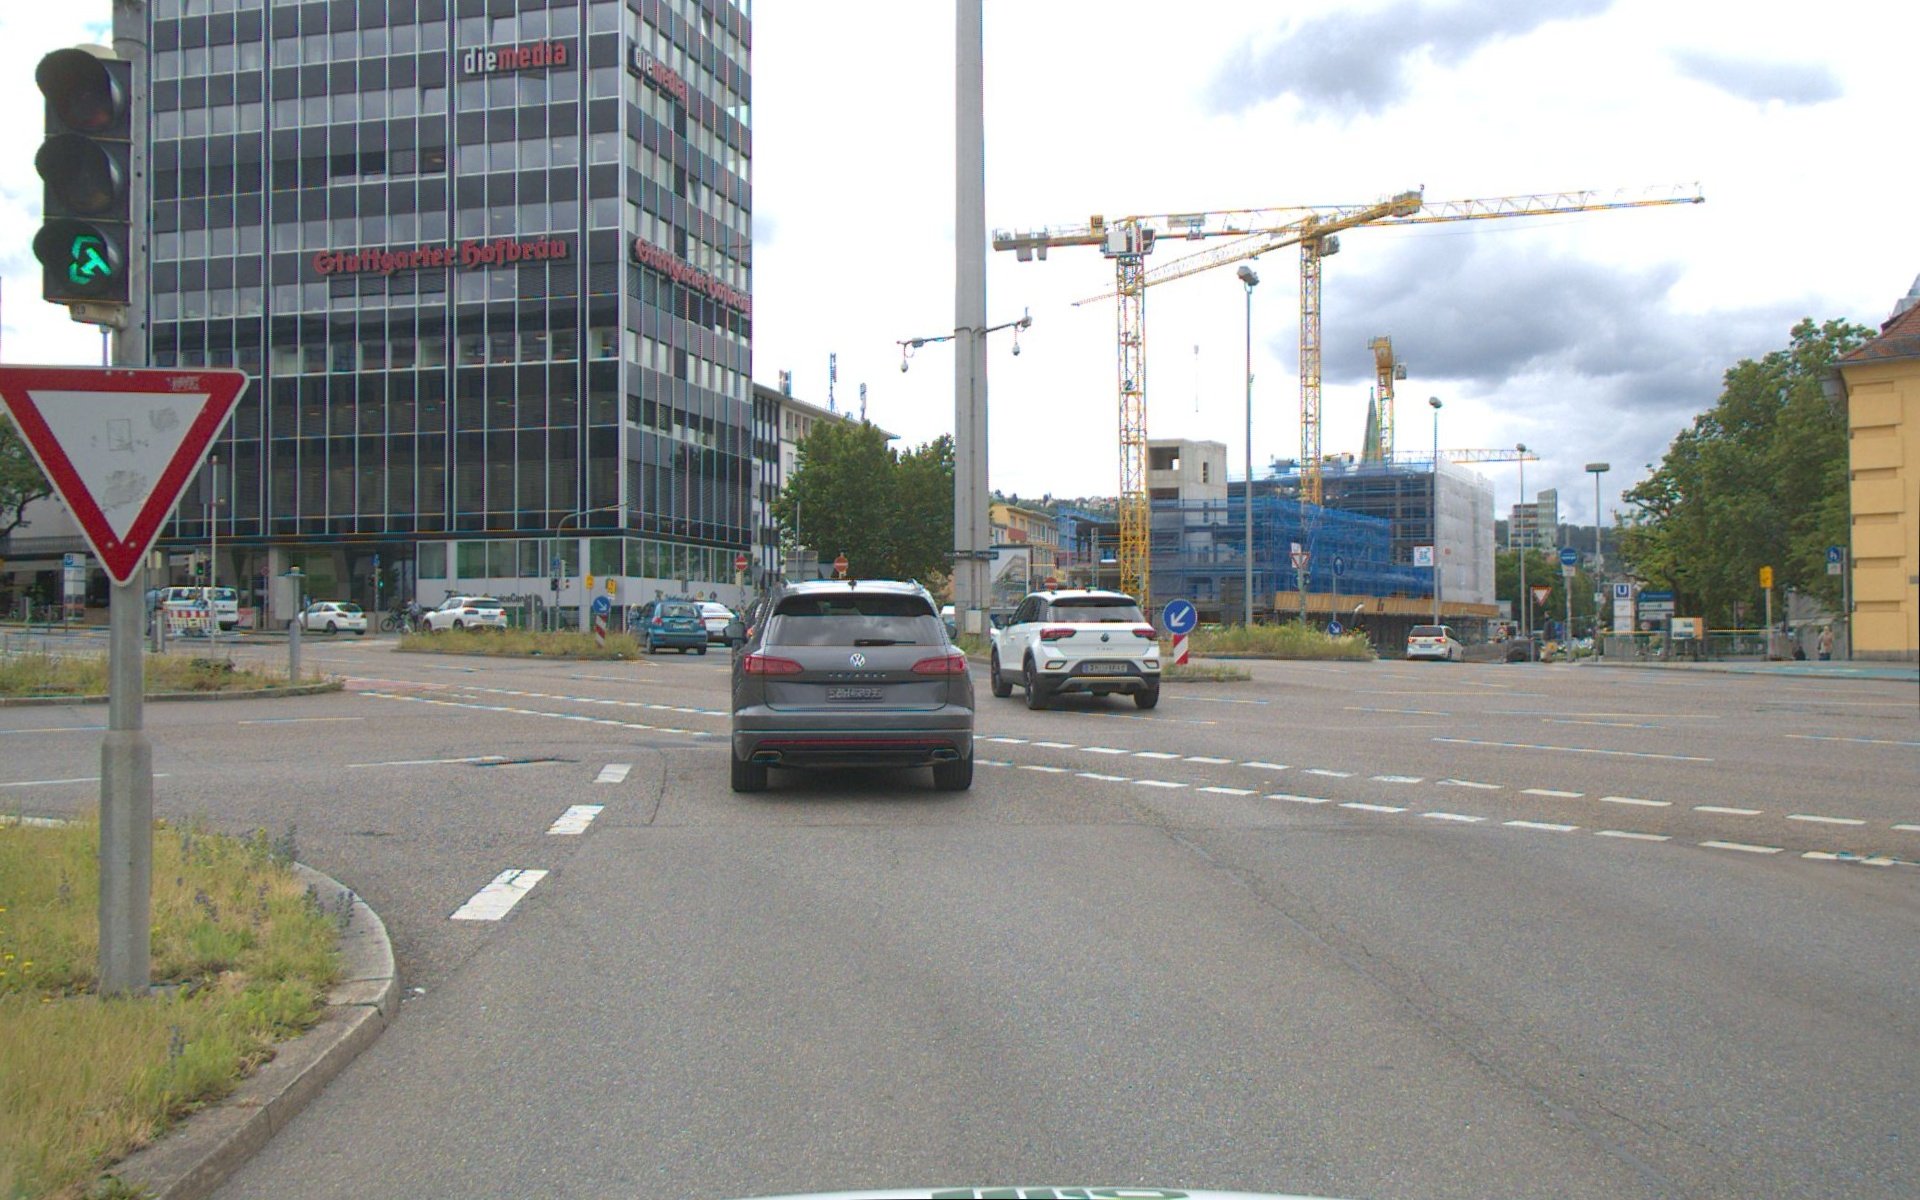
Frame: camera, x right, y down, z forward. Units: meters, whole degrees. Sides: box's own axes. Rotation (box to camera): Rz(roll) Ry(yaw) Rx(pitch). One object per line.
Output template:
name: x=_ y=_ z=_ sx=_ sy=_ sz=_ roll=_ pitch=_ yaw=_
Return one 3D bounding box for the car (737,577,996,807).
car: x=-0.942 y=0.654 z=14.163 sx=1.896 sy=1.676 sz=3.993 roll=1 pitch=1 yaw=-8

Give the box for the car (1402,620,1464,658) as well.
car: x=20.273 y=1.669 z=70.759 sx=1.768 sy=1.529 sz=3.975 roll=1 pitch=-1 yaw=27

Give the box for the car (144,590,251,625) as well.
car: x=-35.184 y=0.325 z=76.318 sx=4.507 sy=1.528 sz=2.249 roll=1 pitch=1 yaw=27

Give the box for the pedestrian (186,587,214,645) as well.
pedestrian: x=-31.631 y=0.663 z=68.821 sx=0.948 sy=2.403 sz=1.030 roll=0 pitch=0 yaw=-30

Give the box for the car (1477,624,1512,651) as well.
car: x=32.106 y=2.229 z=99.287 sx=1.766 sy=1.529 sz=3.981 roll=1 pitch=0 yaw=22

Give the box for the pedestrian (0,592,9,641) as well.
pedestrian: x=-32.220 y=0.556 z=55.389 sx=0.615 sy=1.621 sz=0.585 roll=1 pitch=0 yaw=-30

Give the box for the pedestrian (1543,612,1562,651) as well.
pedestrian: x=19.948 y=1.055 z=55.723 sx=0.538 sy=1.304 sz=0.462 roll=1 pitch=0 yaw=26

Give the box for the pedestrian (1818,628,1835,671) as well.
pedestrian: x=34.264 y=1.951 z=65.398 sx=0.532 sy=1.625 sz=0.741 roll=1 pitch=0 yaw=25

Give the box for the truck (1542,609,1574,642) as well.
truck: x=48.410 y=2.039 z=133.846 sx=2.085 sy=2.496 sz=4.824 roll=1 pitch=0 yaw=25

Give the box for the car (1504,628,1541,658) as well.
car: x=31.593 y=2.403 z=92.873 sx=1.766 sy=1.529 sz=3.981 roll=1 pitch=0 yaw=22

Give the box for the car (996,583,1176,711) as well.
car: x=1.664 y=0.589 z=23.099 sx=1.857 sy=1.613 sz=3.796 roll=0 pitch=1 yaw=-6

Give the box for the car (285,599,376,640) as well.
car: x=-28.994 y=0.898 z=76.133 sx=3.917 sy=1.639 sz=1.894 roll=2 pitch=-2 yaw=33

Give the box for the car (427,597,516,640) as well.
car: x=-18.694 y=0.684 z=63.175 sx=1.805 sy=1.522 sz=3.846 roll=0 pitch=1 yaw=-42

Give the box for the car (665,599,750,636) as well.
car: x=-8.570 y=0.572 z=55.861 sx=1.651 sy=1.159 sz=4.033 roll=0 pitch=0 yaw=-28

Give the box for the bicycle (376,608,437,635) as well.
bicycle: x=-27.267 y=1.048 z=81.400 sx=3.248 sy=1.188 sz=1.245 roll=1 pitch=0 yaw=38

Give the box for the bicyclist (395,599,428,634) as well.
bicyclist: x=-26.890 y=0.817 z=81.114 sx=0.898 sy=1.670 sz=1.246 roll=1 pitch=0 yaw=37

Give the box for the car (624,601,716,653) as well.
car: x=-8.247 y=0.740 z=46.841 sx=1.768 sy=1.380 sz=4.042 roll=0 pitch=0 yaw=-22

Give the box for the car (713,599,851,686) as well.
car: x=-3.161 y=0.681 z=28.747 sx=1.763 sy=1.380 sz=4.053 roll=0 pitch=0 yaw=-15
